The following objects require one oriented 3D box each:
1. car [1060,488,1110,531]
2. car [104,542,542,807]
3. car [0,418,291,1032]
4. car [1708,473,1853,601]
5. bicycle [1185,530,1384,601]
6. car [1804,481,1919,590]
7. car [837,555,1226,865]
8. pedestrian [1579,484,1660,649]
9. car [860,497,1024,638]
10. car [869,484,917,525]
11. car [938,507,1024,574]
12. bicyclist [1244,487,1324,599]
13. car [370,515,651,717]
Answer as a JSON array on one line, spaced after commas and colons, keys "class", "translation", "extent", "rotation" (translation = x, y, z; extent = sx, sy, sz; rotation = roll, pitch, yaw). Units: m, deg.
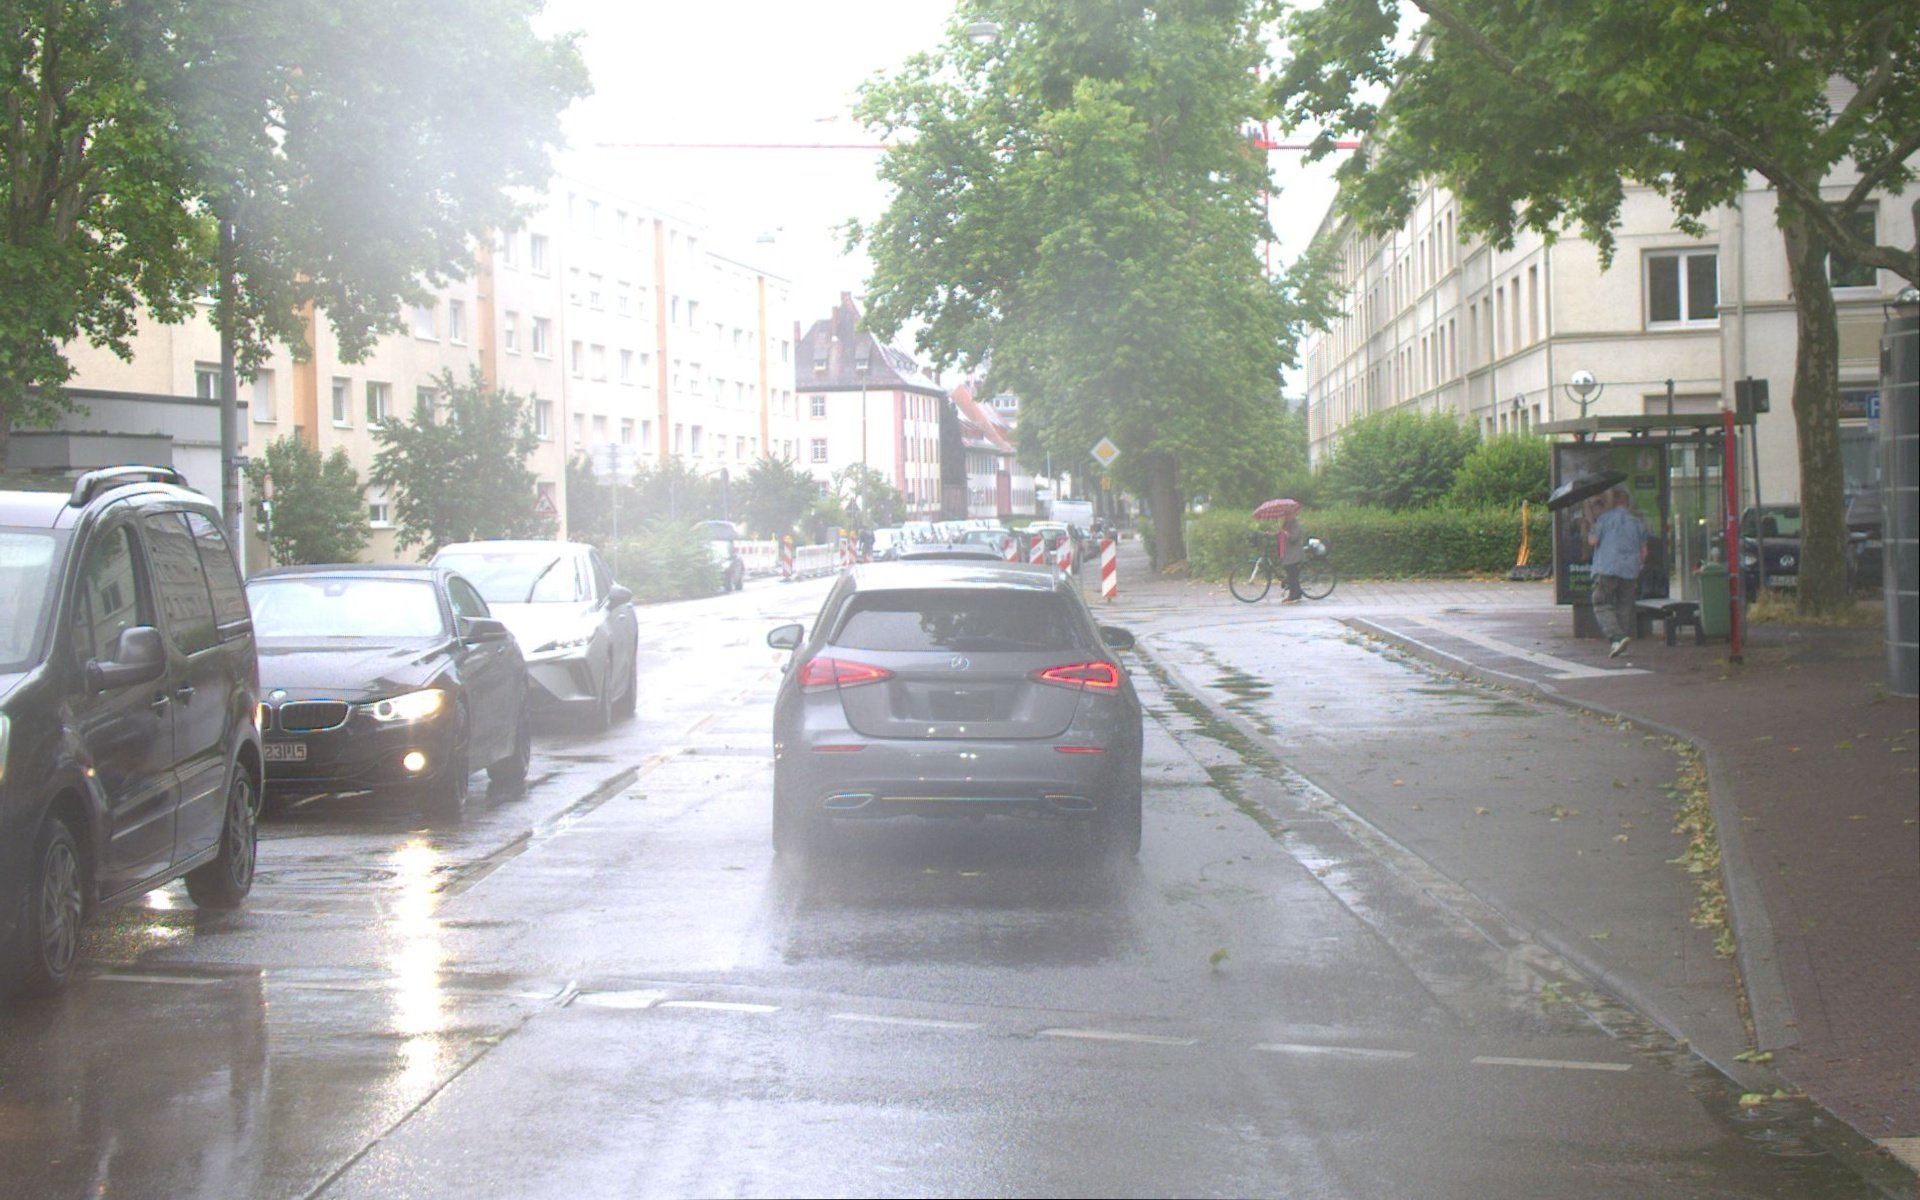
[{"class": "car", "translation": [5.597, -4.051, 153.442], "extent": [2.047, 1.830, 4.792], "rotation": [-1, 1, 4]}, {"class": "car", "translation": [-3.611, 0.361, 20.242], "extent": [1.742, 1.385, 4.363], "rotation": [0, 1, 0]}, {"class": "car", "translation": [-3.759, 0.345, 12.446], "extent": [1.806, 1.855, 4.110], "rotation": [-1, 2, 0]}, {"class": "car", "translation": [10.763, -0.791, 44.965], "extent": [1.689, 1.546, 3.520], "rotation": [-1, -1, 15]}, {"class": "bicycle", "translation": [5.549, -0.591, 58.855], "extent": [3.205, 1.108, 1.054], "rotation": [-2, 1, -18]}, {"class": "car", "translation": [14.889, -1.065, 54.899], "extent": [1.996, 1.622, 4.625], "rotation": [2, 3, 23]}, {"class": "car", "translation": [0.325, 0.483, 17.599], "extent": [1.791, 1.367, 3.507], "rotation": [0, 2, 0]}, {"class": "pedestrian", "translation": [6.744, -0.347, 35.167], "extent": [0.716, 1.663, 0.665], "rotation": [-1, 1, 5]}, {"class": "car", "translation": [-0.190, -0.389, 36.902], "extent": [1.607, 1.367, 4.000], "rotation": [-2, 2, 0]}, {"class": "car", "translation": [-3.109, -4.446, 160.840], "extent": [1.890, 1.830, 4.000], "rotation": [-1, 1, 4]}, {"class": "car", "translation": [0.496, -1.494, 85.209], "extent": [1.993, 1.568, 4.000], "rotation": [-2, 1, -1]}, {"class": "bicyclist", "translation": [5.530, -0.974, 58.780], "extent": [0.938, 1.862, 1.143], "rotation": [-2, 1, -18]}, {"class": "car", "translation": [-3.646, 0.076, 28.520], "extent": [1.845, 1.505, 4.056], "rotation": [-1, 2, -1]}]
